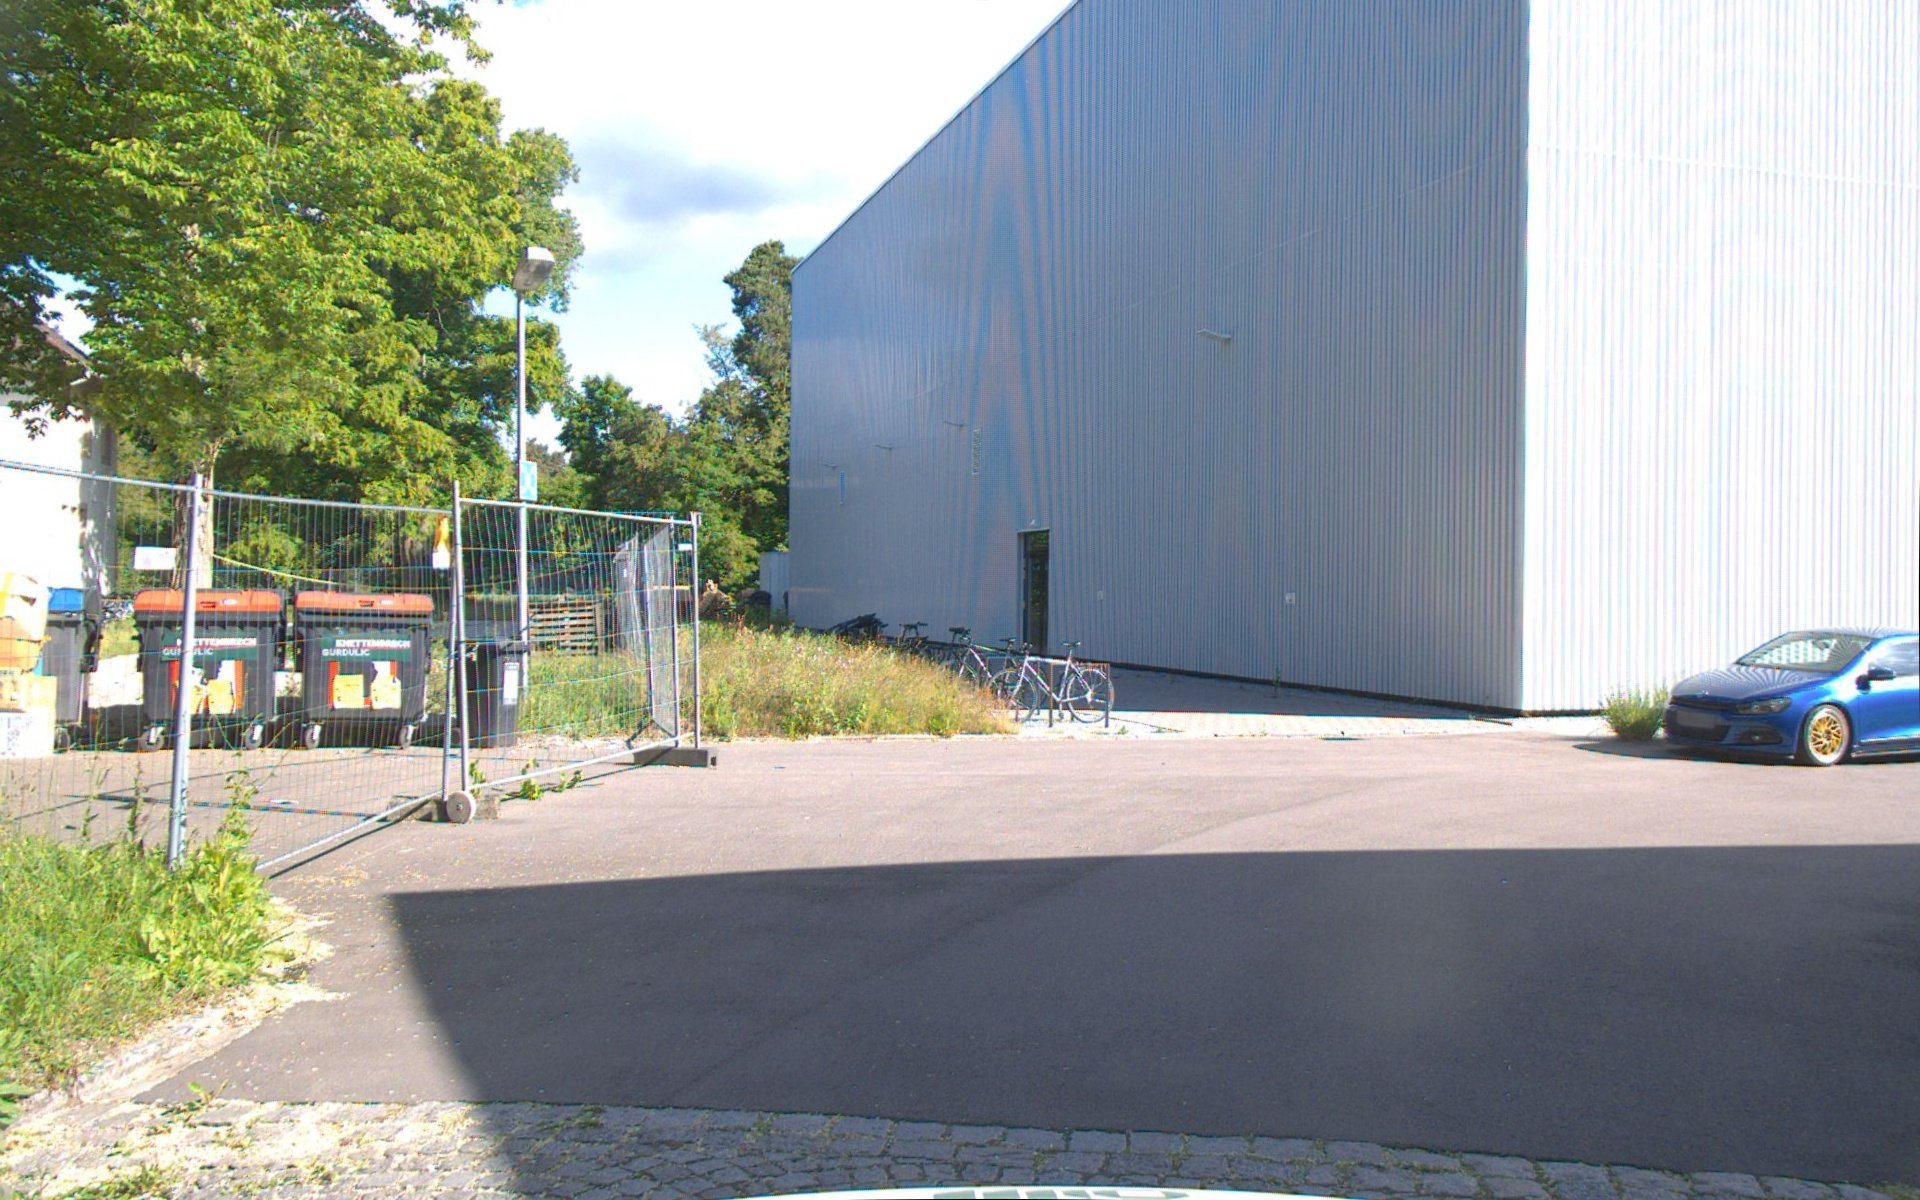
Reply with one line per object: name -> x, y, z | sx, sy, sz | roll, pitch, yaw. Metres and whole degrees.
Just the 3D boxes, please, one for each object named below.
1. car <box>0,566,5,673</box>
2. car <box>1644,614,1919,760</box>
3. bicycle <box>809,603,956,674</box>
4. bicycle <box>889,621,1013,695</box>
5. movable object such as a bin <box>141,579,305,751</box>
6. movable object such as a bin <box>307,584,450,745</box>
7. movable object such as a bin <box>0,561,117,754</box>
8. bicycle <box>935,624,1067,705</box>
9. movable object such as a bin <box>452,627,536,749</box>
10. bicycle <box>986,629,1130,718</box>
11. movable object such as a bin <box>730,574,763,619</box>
car -> -19.434, 0.386, 28.739 | 4.644, 1.935, 1.987 | -1, 0, -22
car -> 9.499, 0.879, 17.712 | 3.880, 1.373, 1.665 | 1, 2, -19
bicycle -> -1.465, 0.720, 31.061 | 2.585, 1.288, 1.137 | 1, 0, -14
bicycle -> -0.143, 0.886, 25.606 | 1.859, 1.114, 0.523 | 0, -1, -19
movable object such as a bin -> -6.740, 0.578, 15.174 | 1.320, 1.510, 0.801 | 1, 0, -24
movable object such as a bin -> -5.497, 0.590, 15.617 | 1.228, 1.470, 0.698 | 1, 0, -23
movable object such as a bin -> -8.591, 0.476, 14.262 | 2.257, 1.619, 1.166 | 1, 0, -24
bicycle -> 0.575, 0.892, 23.169 | 1.763, 1.101, 0.522 | 1, 0, -16
movable object such as a bin -> -4.443, 0.826, 15.816 | 0.723, 1.116, 0.816 | 1, 0, -14
bicycle -> 1.231, 0.905, 20.692 | 1.775, 1.080, 0.456 | 1, 0, -23
movable object such as a bin -> -9.876, -0.141, 76.347 | 1.394, 2.049, 1.121 | 1, 0, -13
